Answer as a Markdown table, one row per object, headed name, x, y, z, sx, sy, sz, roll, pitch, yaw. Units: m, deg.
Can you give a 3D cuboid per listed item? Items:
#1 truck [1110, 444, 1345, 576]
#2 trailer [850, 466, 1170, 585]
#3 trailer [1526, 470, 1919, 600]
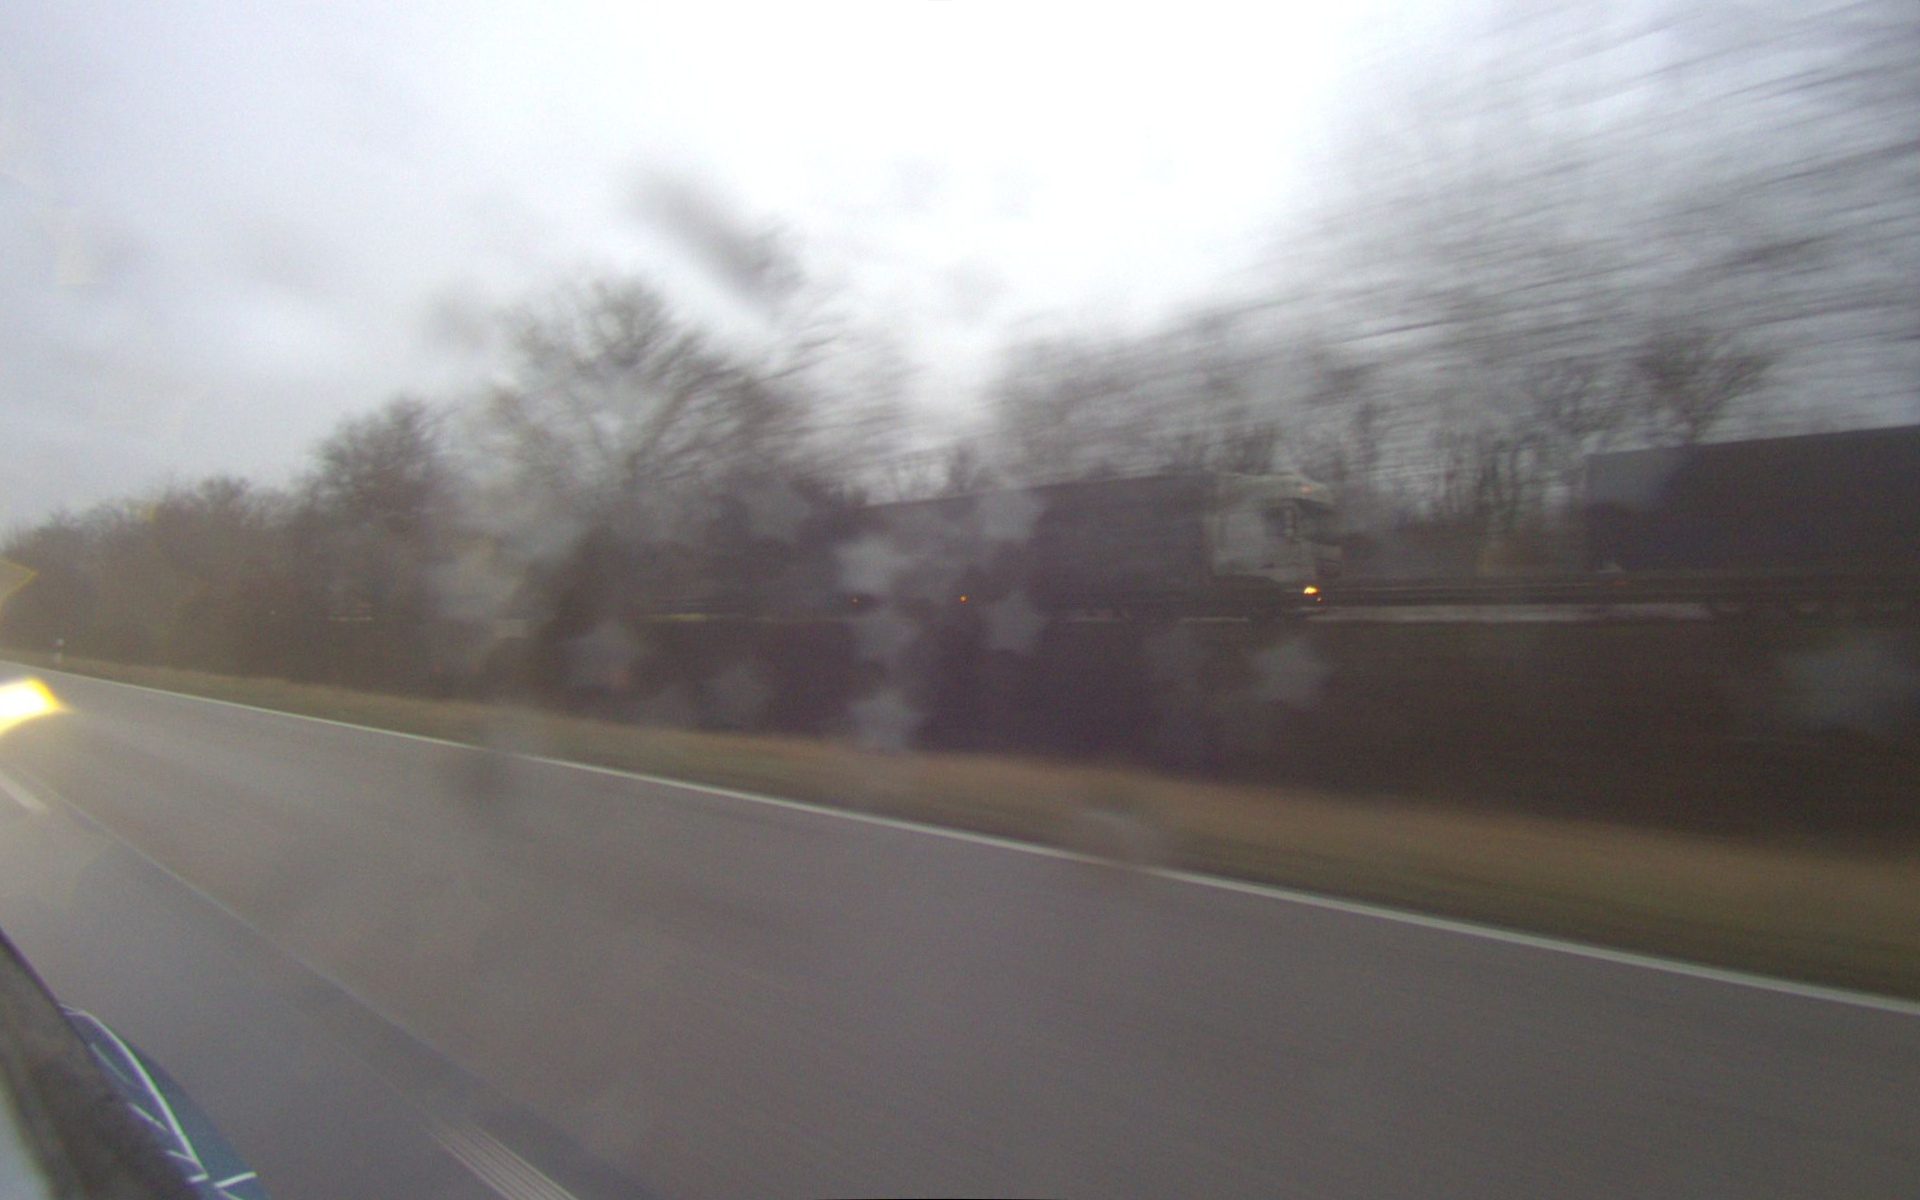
| name | x | y | z | sx | sy | sz | roll | pitch | yaw |
| --- | --- | --- | --- | --- | --- | --- | --- | --- | --- |
| truck | 7.058 | -2.234 | 27.108 | 5.580 | 2.909 | 2.424 | -1 | -2 | 41 |
| trailer | 1.166 | -2.108 | 32.231 | 11.079 | 2.913 | 2.410 | -1 | -2 | 41 |
| trailer | 19.094 | -1.345 | 22.116 | 11.496 | 2.443 | 2.482 | -1 | -2 | 41 |
